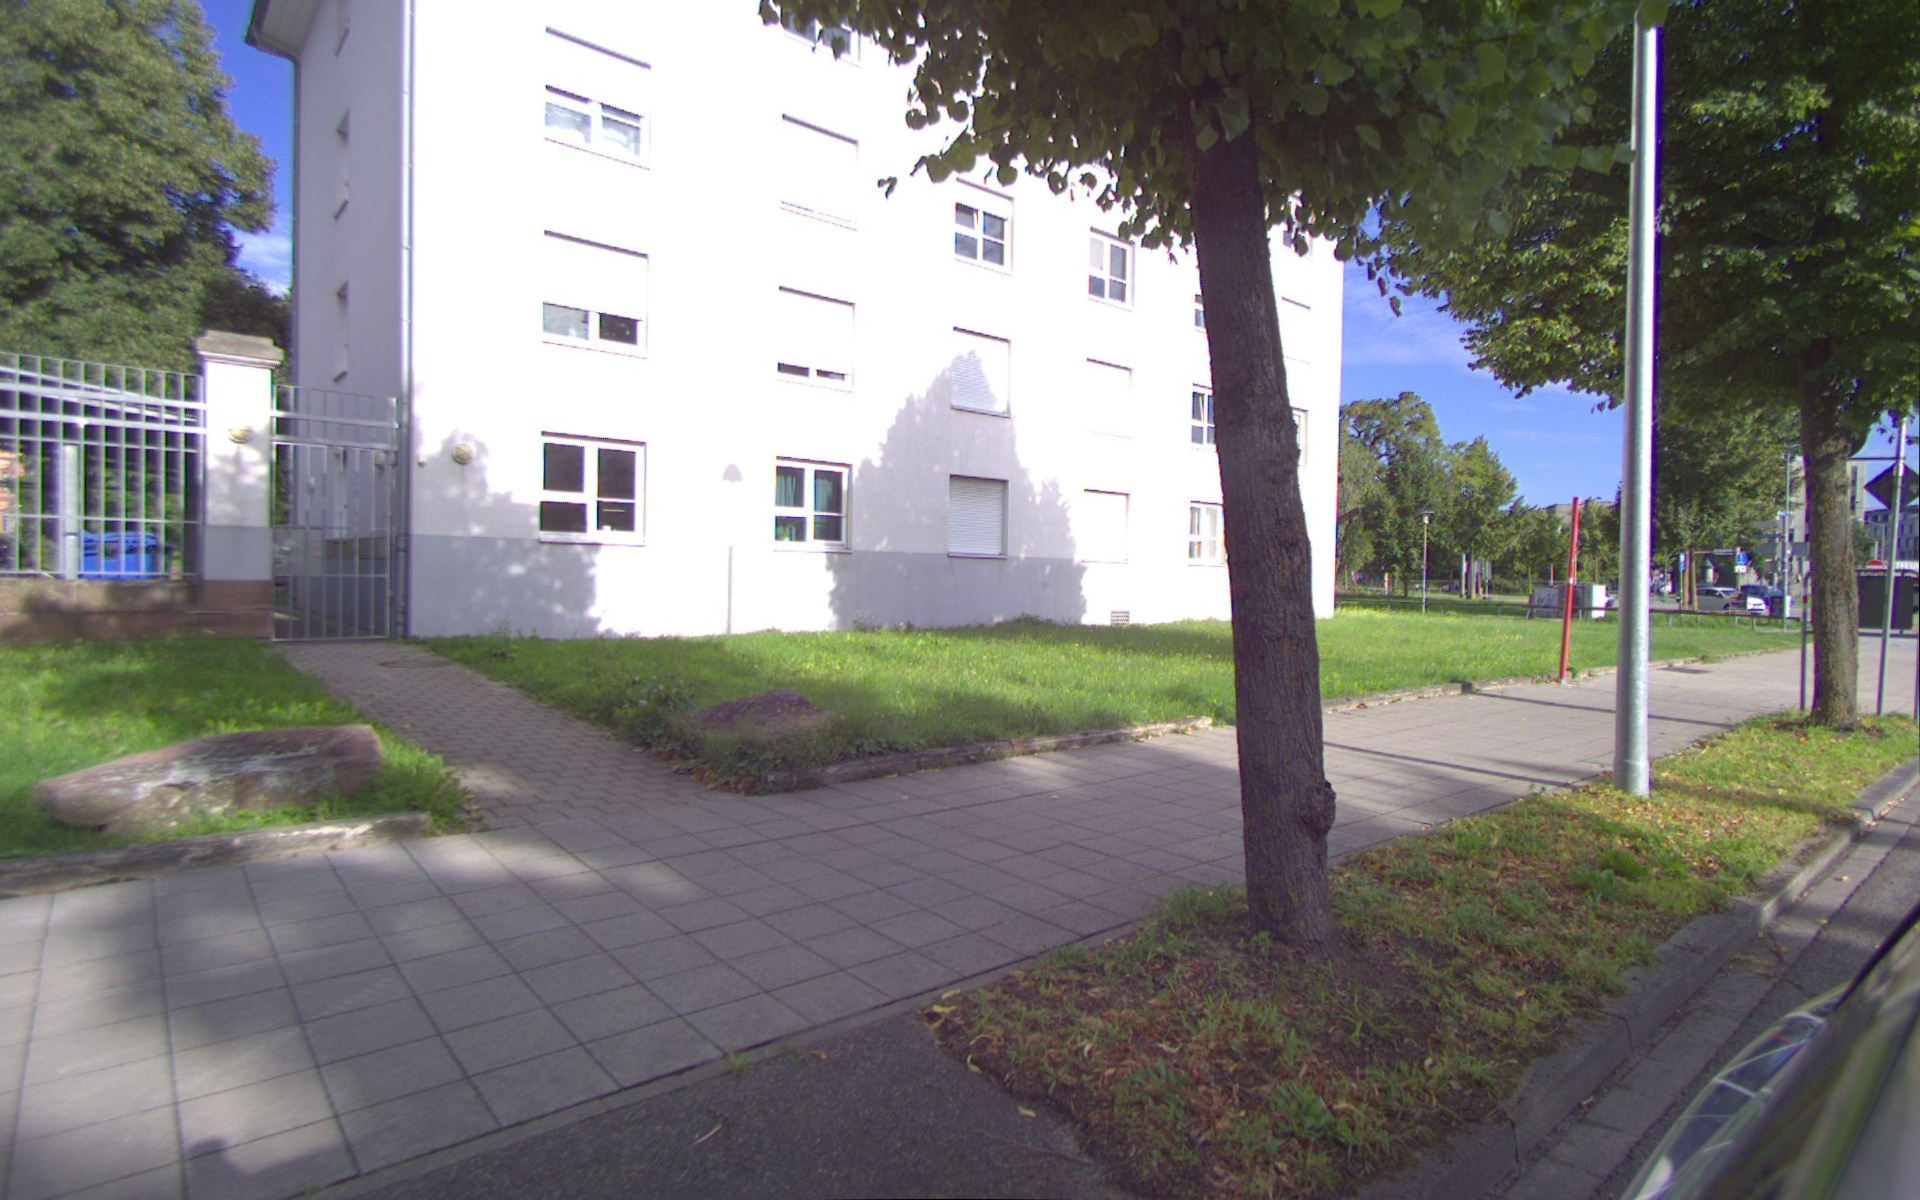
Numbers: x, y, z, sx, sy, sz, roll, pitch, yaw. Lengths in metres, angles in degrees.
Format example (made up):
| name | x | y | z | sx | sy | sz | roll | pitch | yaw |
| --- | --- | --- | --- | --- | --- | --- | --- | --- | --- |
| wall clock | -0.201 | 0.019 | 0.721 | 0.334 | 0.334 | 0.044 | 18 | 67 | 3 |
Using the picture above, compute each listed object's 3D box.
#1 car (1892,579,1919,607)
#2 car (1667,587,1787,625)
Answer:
| name | x | y | z | sx | sy | sz | roll | pitch | yaw |
| --- | --- | --- | --- | --- | --- | --- | --- | --- | --- |
| car | 54.490 | -0.356 | 55.676 | 1.958 | 1.504 | 4.273 | 0 | 2 | -23 |
| car | 41.851 | 0.273 | 55.387 | 1.801 | 1.890 | 5.414 | 0 | 1 | -11 |
